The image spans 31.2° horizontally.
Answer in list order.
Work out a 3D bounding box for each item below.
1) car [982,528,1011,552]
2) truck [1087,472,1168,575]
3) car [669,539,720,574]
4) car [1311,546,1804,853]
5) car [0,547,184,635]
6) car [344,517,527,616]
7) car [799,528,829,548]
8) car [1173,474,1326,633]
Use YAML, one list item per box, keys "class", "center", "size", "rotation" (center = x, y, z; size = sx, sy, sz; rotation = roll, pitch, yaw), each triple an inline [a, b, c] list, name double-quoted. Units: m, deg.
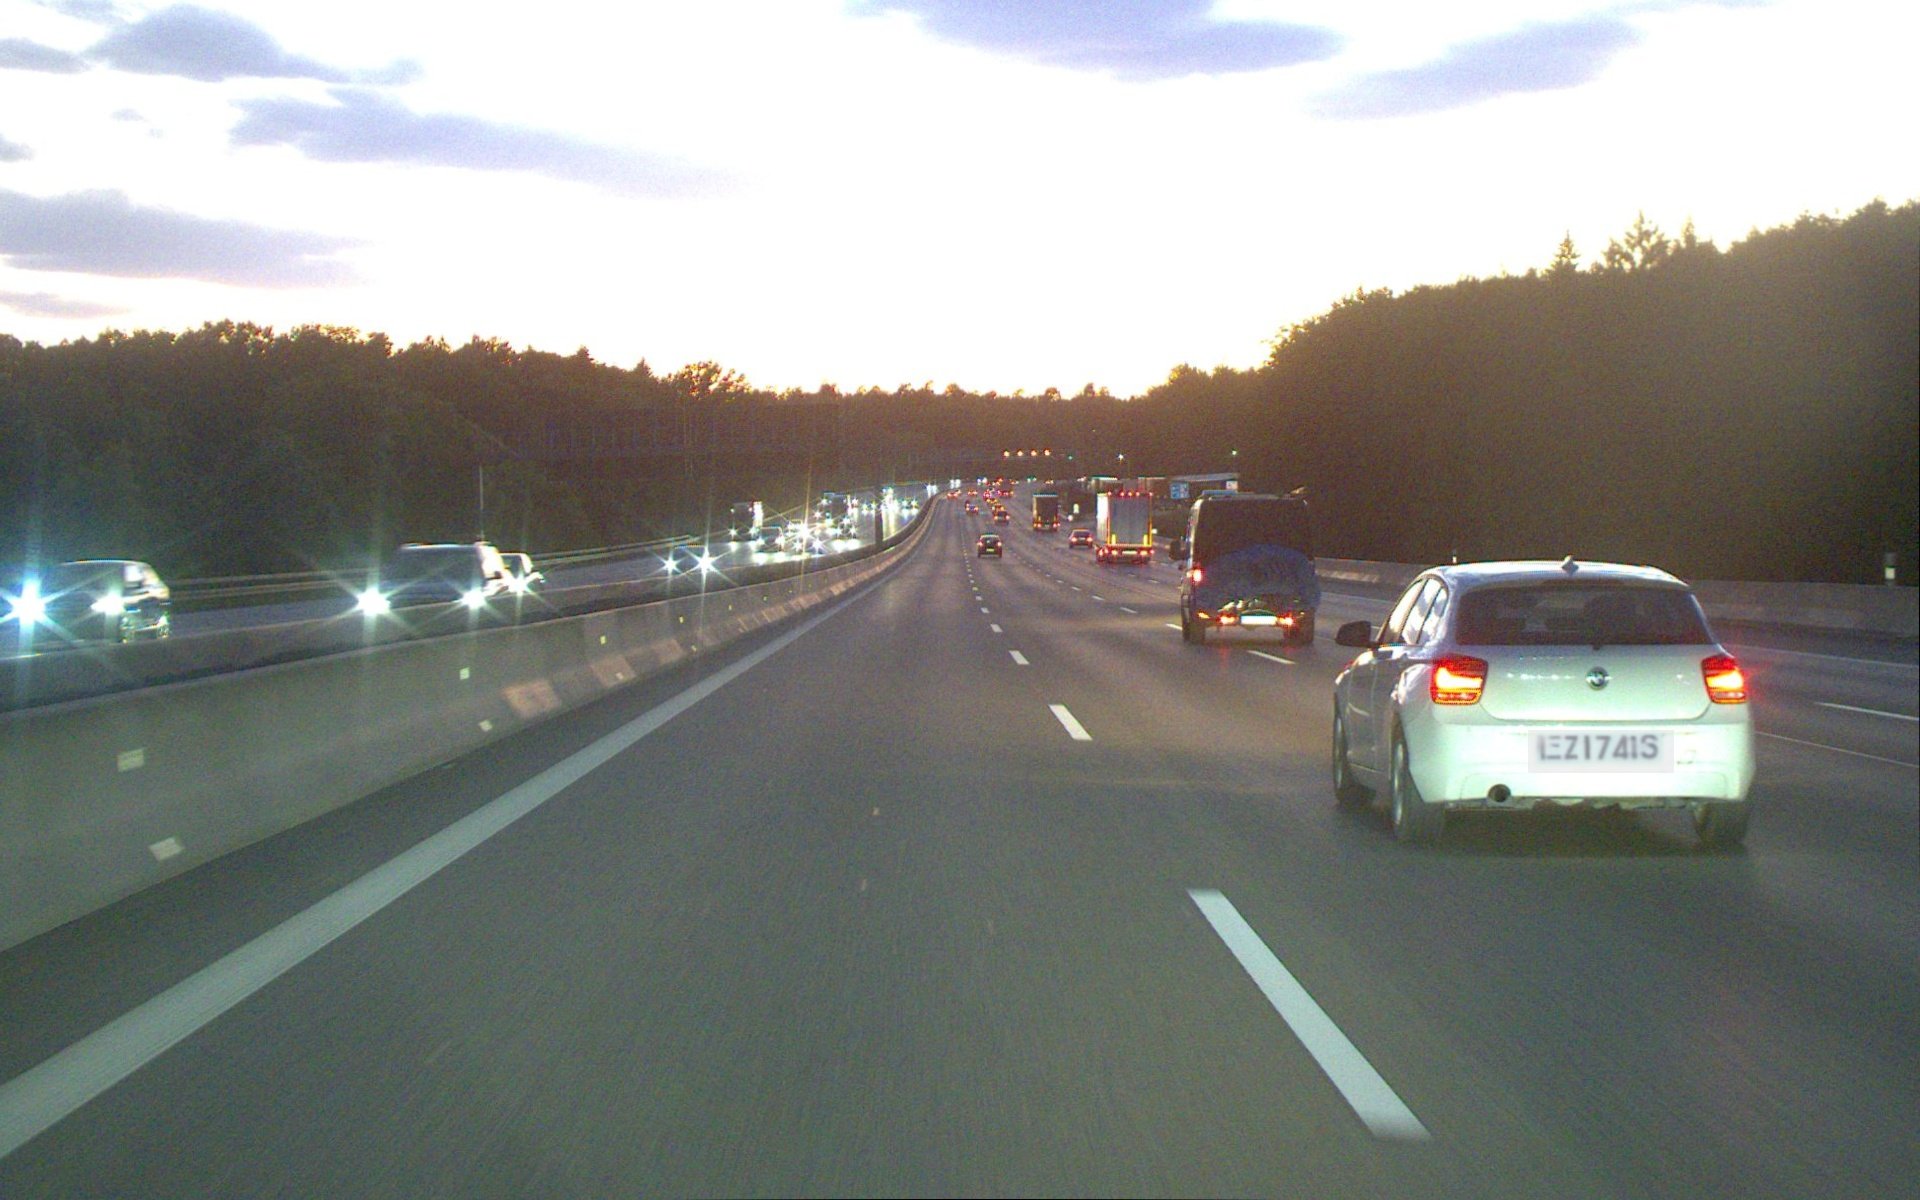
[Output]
- class: "car"
  center: [2.497, -4.030, 231.970]
  size: [1.836, 1.565, 4.000]
  rotation: [-1, 1, 2]
- class: "truck"
  center: [9.852, -4.516, 203.549]
  size: [4.149, 5.836, 14.297]
  rotation: [-1, 1, 0]
- class: "car"
  center: [-11.195, -1.843, 145.032]
  size: [1.836, 1.433, 4.000]
  rotation: [-1, 1, 0]
- class: "car"
  center: [3.035, 0.446, 18.215]
  size: [1.859, 1.437, 3.721]
  rotation: [1, 1, -2]
- class: "car"
  center: [-14.815, -0.181, 58.809]
  size: [1.912, 1.420, 4.747]
  rotation: [0, 1, 1]
- class: "car"
  center: [-7.912, -0.534, 52.322]
  size: [1.993, 1.420, 5.145]
  rotation: [0, 1, 0]
- class: "car"
  center: [-10.628, -4.484, 250.141]
  size: [1.836, 1.433, 4.000]
  rotation: [-1, 1, 2]
- class: "car"
  center: [4.608, -0.758, 55.401]
  size: [2.166, 2.410, 5.564]
  rotation: [-1, 1, 2]
